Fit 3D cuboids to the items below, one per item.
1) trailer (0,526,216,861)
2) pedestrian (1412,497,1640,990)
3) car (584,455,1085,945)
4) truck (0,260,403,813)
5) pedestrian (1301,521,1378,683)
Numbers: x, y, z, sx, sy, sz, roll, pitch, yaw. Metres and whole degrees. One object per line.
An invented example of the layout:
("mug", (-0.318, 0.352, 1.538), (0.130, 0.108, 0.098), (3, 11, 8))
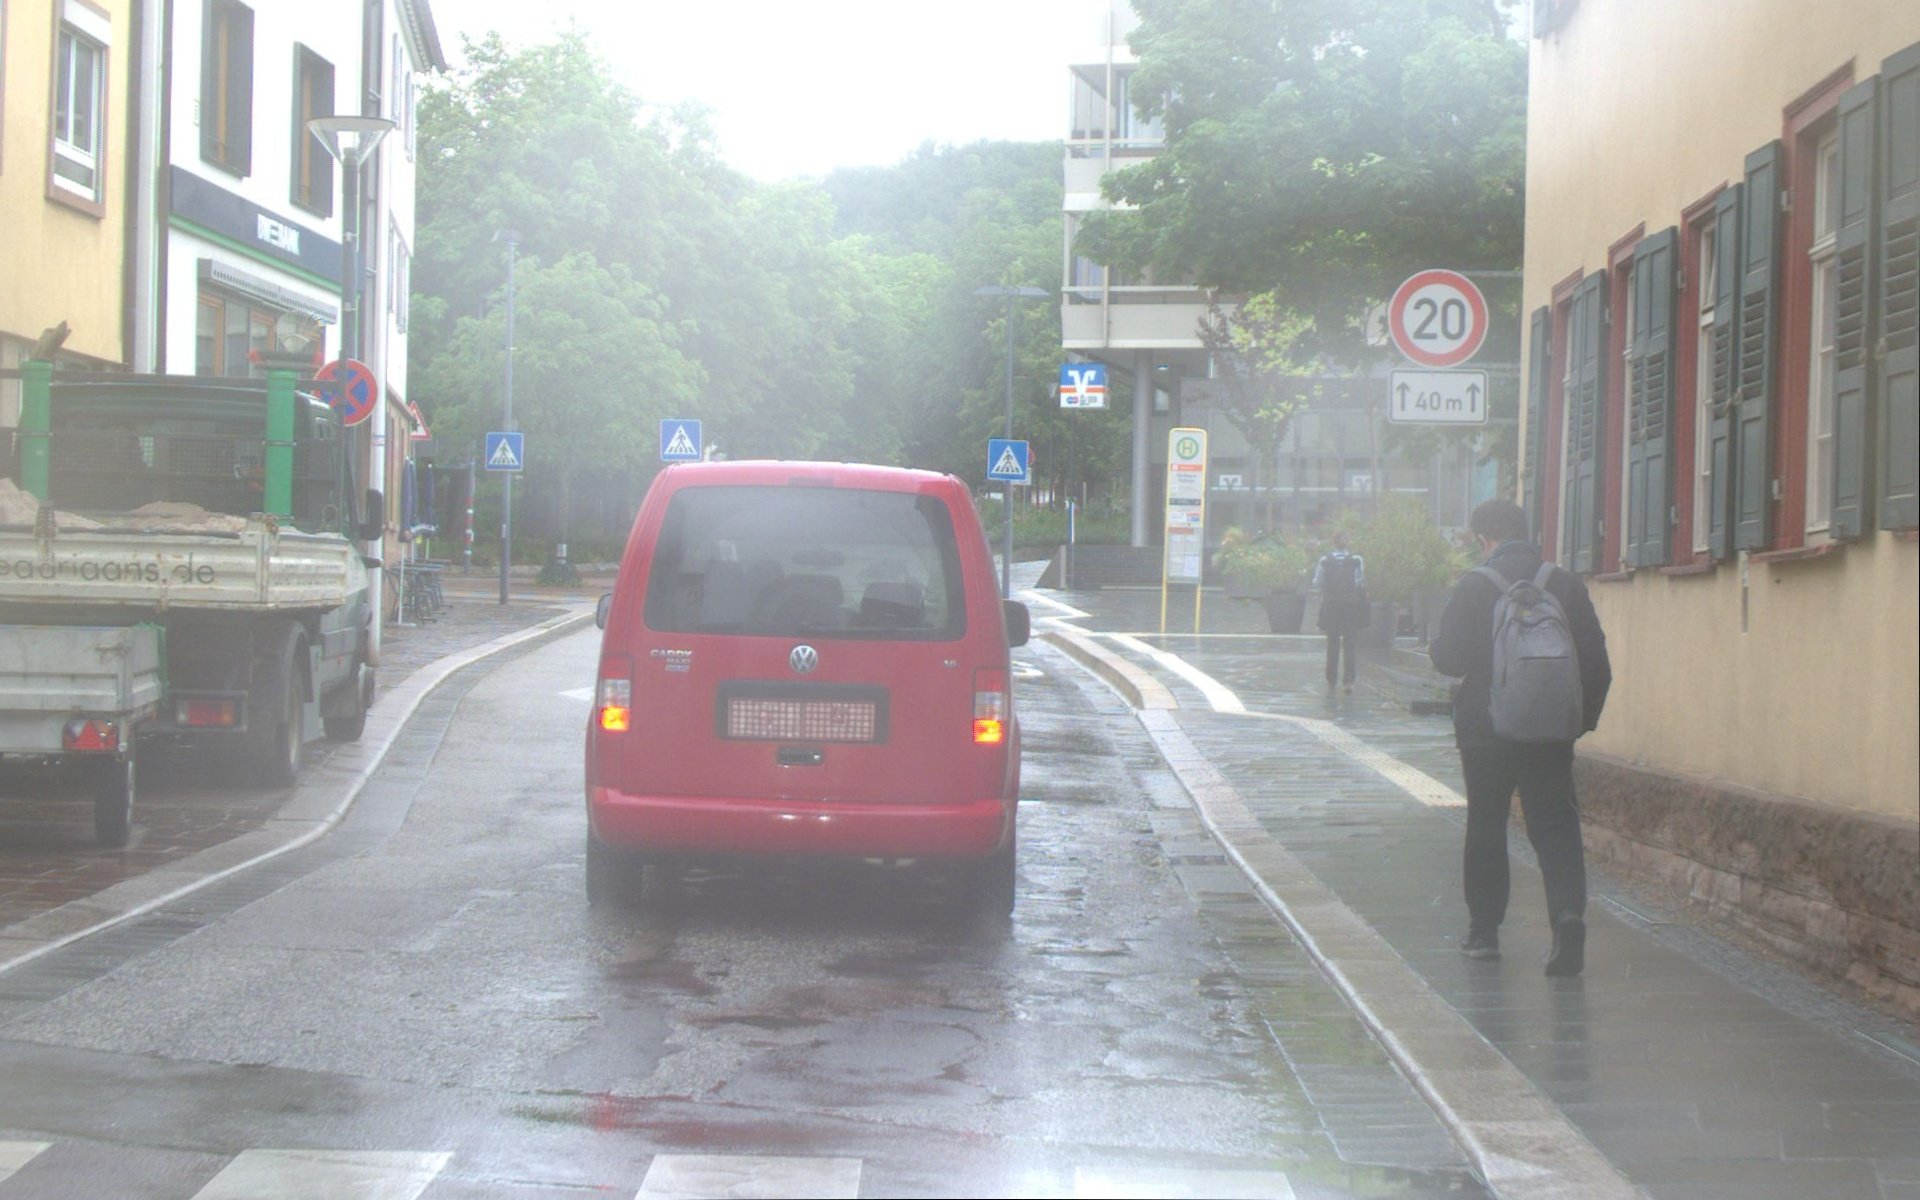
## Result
("trailer", (-4.513, 0.355, 15.788), (1.727, 1.342, 3.161), (0, 2, -4))
("pedestrian", (2.002, 0.480, 12.252), (0.714, 1.687, 0.868), (1, 1, 5))
("car", (-0.584, 0.349, 15.072), (1.862, 1.824, 4.186), (1, 1, -3))
("truck", (-4.871, -0.434, 20.622), (2.473, 2.785, 6.601), (0, 2, -4))
("pedestrian", (3.829, 0.017, 34.717), (0.728, 1.611, 0.694), (0, 0, 3))
